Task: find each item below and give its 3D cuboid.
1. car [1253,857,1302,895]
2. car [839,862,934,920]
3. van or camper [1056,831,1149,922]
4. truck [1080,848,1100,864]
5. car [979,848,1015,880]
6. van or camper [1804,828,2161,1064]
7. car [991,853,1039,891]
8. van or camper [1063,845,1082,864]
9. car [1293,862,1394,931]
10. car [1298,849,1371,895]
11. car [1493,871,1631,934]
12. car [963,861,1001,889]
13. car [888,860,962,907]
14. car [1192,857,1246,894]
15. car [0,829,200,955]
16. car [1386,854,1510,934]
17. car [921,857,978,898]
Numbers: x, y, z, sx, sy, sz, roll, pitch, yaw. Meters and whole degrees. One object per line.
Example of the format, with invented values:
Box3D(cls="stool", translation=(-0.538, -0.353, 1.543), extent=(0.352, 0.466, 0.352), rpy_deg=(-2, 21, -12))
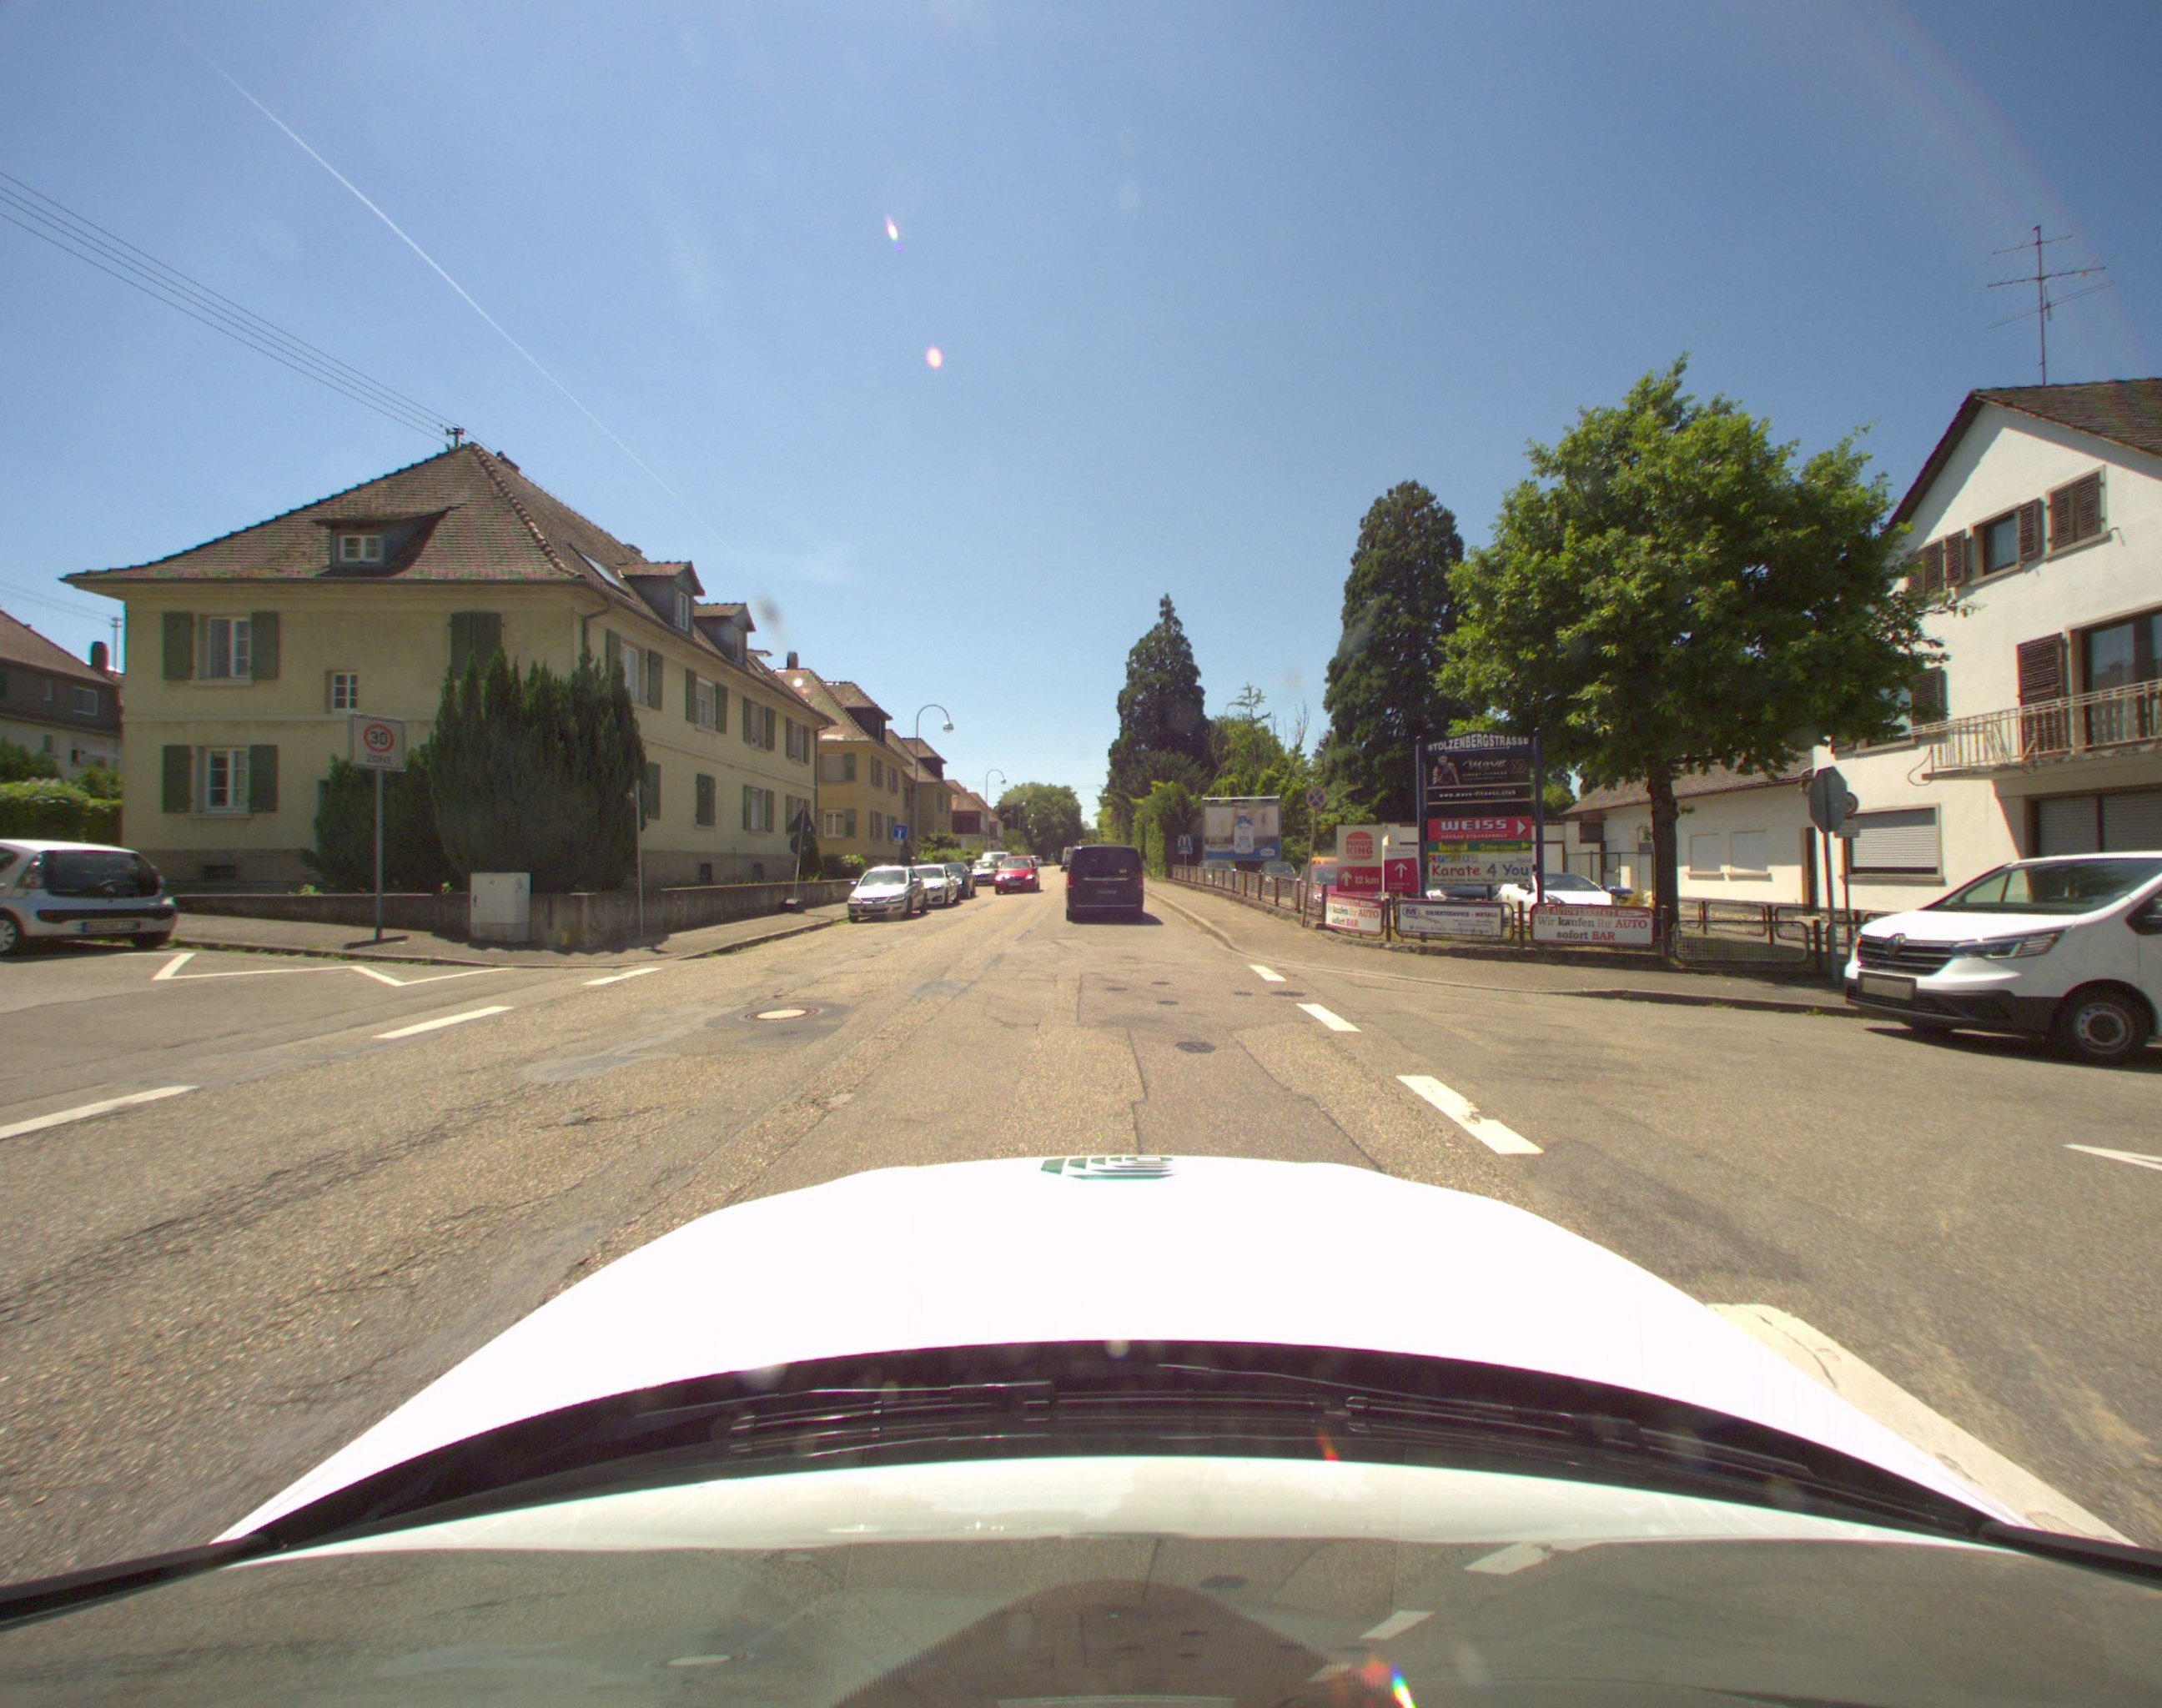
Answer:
Box3D(cls="car", translation=(8.733, 0.967, 36.421), extent=(1.623, 1.543, 3.398), rpy_deg=(4, -1, 7))
Box3D(cls="car", translation=(-5.365, 0.965, 22.918), extent=(1.754, 1.447, 3.922), rpy_deg=(-2, -1, -1))
Box3D(cls="van or camper", translation=(0.418, 0.531, 21.012), extent=(1.899, 2.014, 5.262), rpy_deg=(1, 0, -4))
Box3D(cls="truck", translation=(1.278, 0.357, 116.398), extent=(2.351, 2.258, 6.082), rpy_deg=(0, -1, -4))
Box3D(cls="car", translation=(-5.465, 0.648, 53.647), extent=(1.872, 1.963, 4.624), rpy_deg=(-2, 0, -1))
Box3D(cls="van or camper", translation=(10.662, 0.901, 7.848), extent=(5.314, 1.979, 2.004), rpy_deg=(2, -2, 8))
Box3D(cls="car", translation=(-2.876, 0.766, 36.224), extent=(1.808, 1.566, 3.696), rpy_deg=(-1, 0, 0))
Box3D(cls="van or camper", translation=(-1.207, 0.137, 111.456), extent=(2.258, 2.528, 4.753), rpy_deg=(-1, -1, -3))
Box3D(cls="car", translation=(6.334, 0.959, 20.055), extent=(1.702, 1.523, 3.847), rpy_deg=(0, -1, 8))
Box3D(cls="car", translation=(11.086, 0.776, 35.902), extent=(1.769, 1.800, 4.164), rpy_deg=(4, -1, -1))
Box3D(cls="car", translation=(11.067, 1.068, 19.009), extent=(1.701, 1.270, 3.394), rpy_deg=(1, 0, 10))
Box3D(cls="car", translation=(-5.638, 1.153, 46.773), extent=(1.682, 1.525, 4.060), rpy_deg=(0, 0, -1))
Box3D(cls="car", translation=(-5.219, 0.951, 27.761), extent=(1.789, 1.402, 4.216), rpy_deg=(-2, -1, -1))
Box3D(cls="car", translation=(6.125, 0.919, 36.385), extent=(1.627, 1.459, 3.553), rpy_deg=(4, -1, -2))
Box3D(cls="car", translation=(-14.604, 0.441, 11.190), extent=(3.186, 1.457, 1.738), rpy_deg=(4, -1, 6))
Box3D(cls="car", translation=(8.716, 0.878, 19.726), extent=(1.701, 1.665, 4.472), rpy_deg=(2, 0, 10))
Box3D(cls="car", translation=(-5.249, 0.908, 32.959), extent=(1.711, 1.485, 4.073), rpy_deg=(-2, -1, -2))
